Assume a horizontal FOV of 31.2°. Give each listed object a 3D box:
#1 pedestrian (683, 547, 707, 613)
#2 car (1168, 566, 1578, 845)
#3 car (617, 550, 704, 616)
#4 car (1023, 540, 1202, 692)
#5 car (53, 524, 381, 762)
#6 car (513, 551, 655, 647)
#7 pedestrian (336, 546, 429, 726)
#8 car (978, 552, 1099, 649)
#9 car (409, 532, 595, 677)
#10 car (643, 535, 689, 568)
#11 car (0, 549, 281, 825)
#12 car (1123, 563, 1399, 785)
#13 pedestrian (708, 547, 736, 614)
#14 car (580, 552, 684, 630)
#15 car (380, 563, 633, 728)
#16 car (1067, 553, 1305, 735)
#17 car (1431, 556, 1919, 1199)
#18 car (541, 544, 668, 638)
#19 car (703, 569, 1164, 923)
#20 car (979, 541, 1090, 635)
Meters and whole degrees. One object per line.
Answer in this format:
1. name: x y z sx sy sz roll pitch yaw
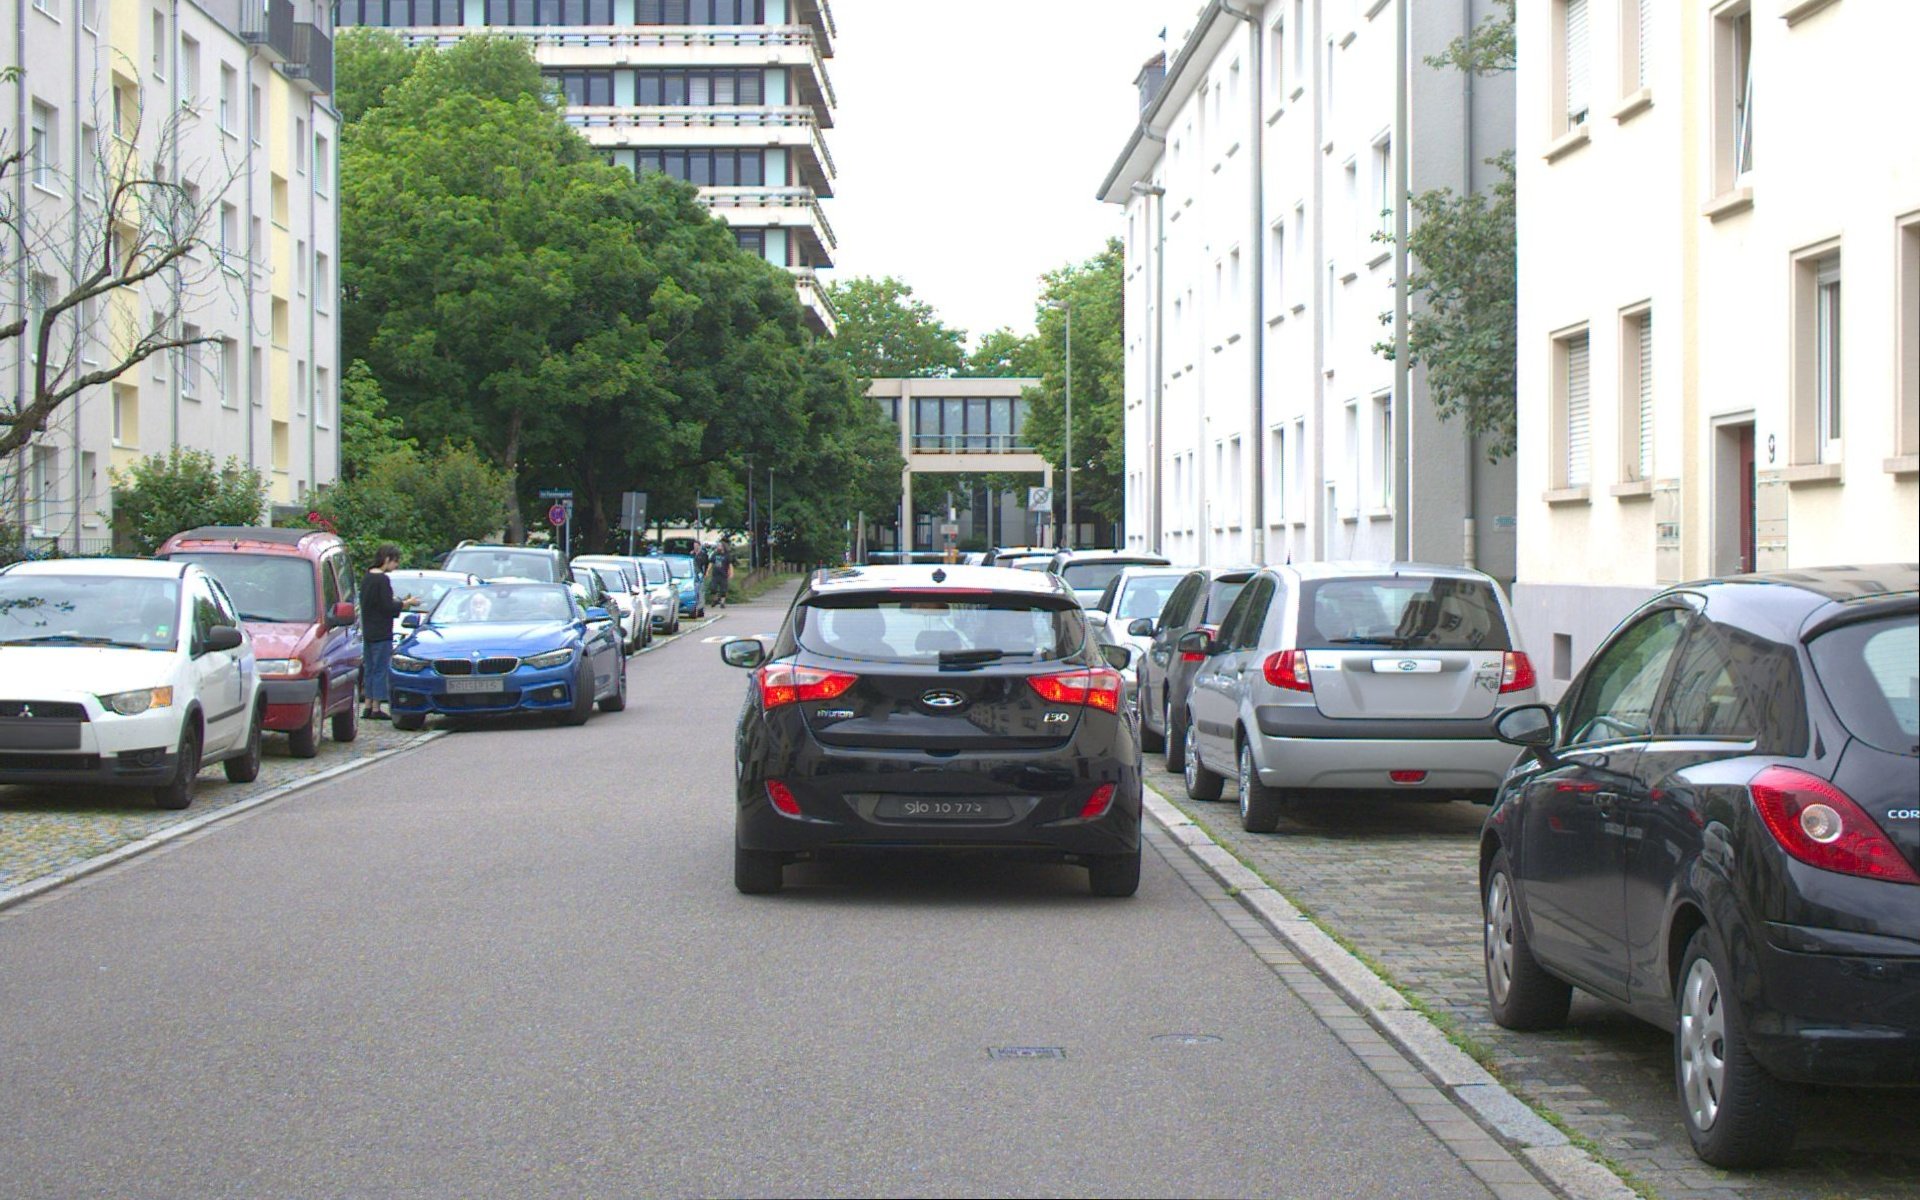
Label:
1. pedestrian: -7.321 -0.557 95.034 0.605 1.825 0.675 0 1 1
2. car: 2.293 0.536 20.014 1.848 1.445 3.833 0 1 -1
3. car: -7.228 -0.430 83.342 1.993 1.536 4.001 1 1 -4
4. car: 1.696 0.138 39.351 1.820 1.636 4.091 0 1 0
5. car: -5.919 0.288 27.880 1.956 1.764 4.362 1 1 -4
6. car: -6.150 -0.040 56.605 1.895 1.447 4.521 2 1 -1
7. pedestrian: -5.573 0.333 33.156 0.740 1.696 0.796 -1 1 -19
8. car: 1.234 -0.016 55.598 1.820 1.498 4.091 0 1 -1
9. car: -5.947 0.023 45.088 1.895 1.734 4.475 2 1 -1
10. car: -12.090 -2.021 141.485 1.665 1.328 3.396 0 1 -1
11. car: -5.571 0.482 22.050 1.720 1.564 3.871 2 1 -1
12. car: 2.145 0.485 25.359 1.602 1.471 3.869 1 1 -1
13. pedestrian: -6.561 -0.533 94.843 0.714 1.825 0.797 0 1 1
14. car: -6.738 -0.210 71.030 1.993 1.536 4.001 1 1 -4
15. car: -4.289 0.383 33.129 1.845 1.446 4.501 0 1 0
16. car: 1.919 0.331 30.394 1.725 1.471 4.505 0 1 -1
17. car: 2.544 0.648 9.815 1.725 1.512 4.061 -1 1 -2
18. car: -6.445 -0.190 62.723 1.895 1.593 4.521 2 1 -1
19. car: -0.133 0.590 16.438 1.903 1.428 4.233 -1 1 -1
20. car: 1.273 -0.239 60.529 1.820 1.597 4.091 0 1 0
